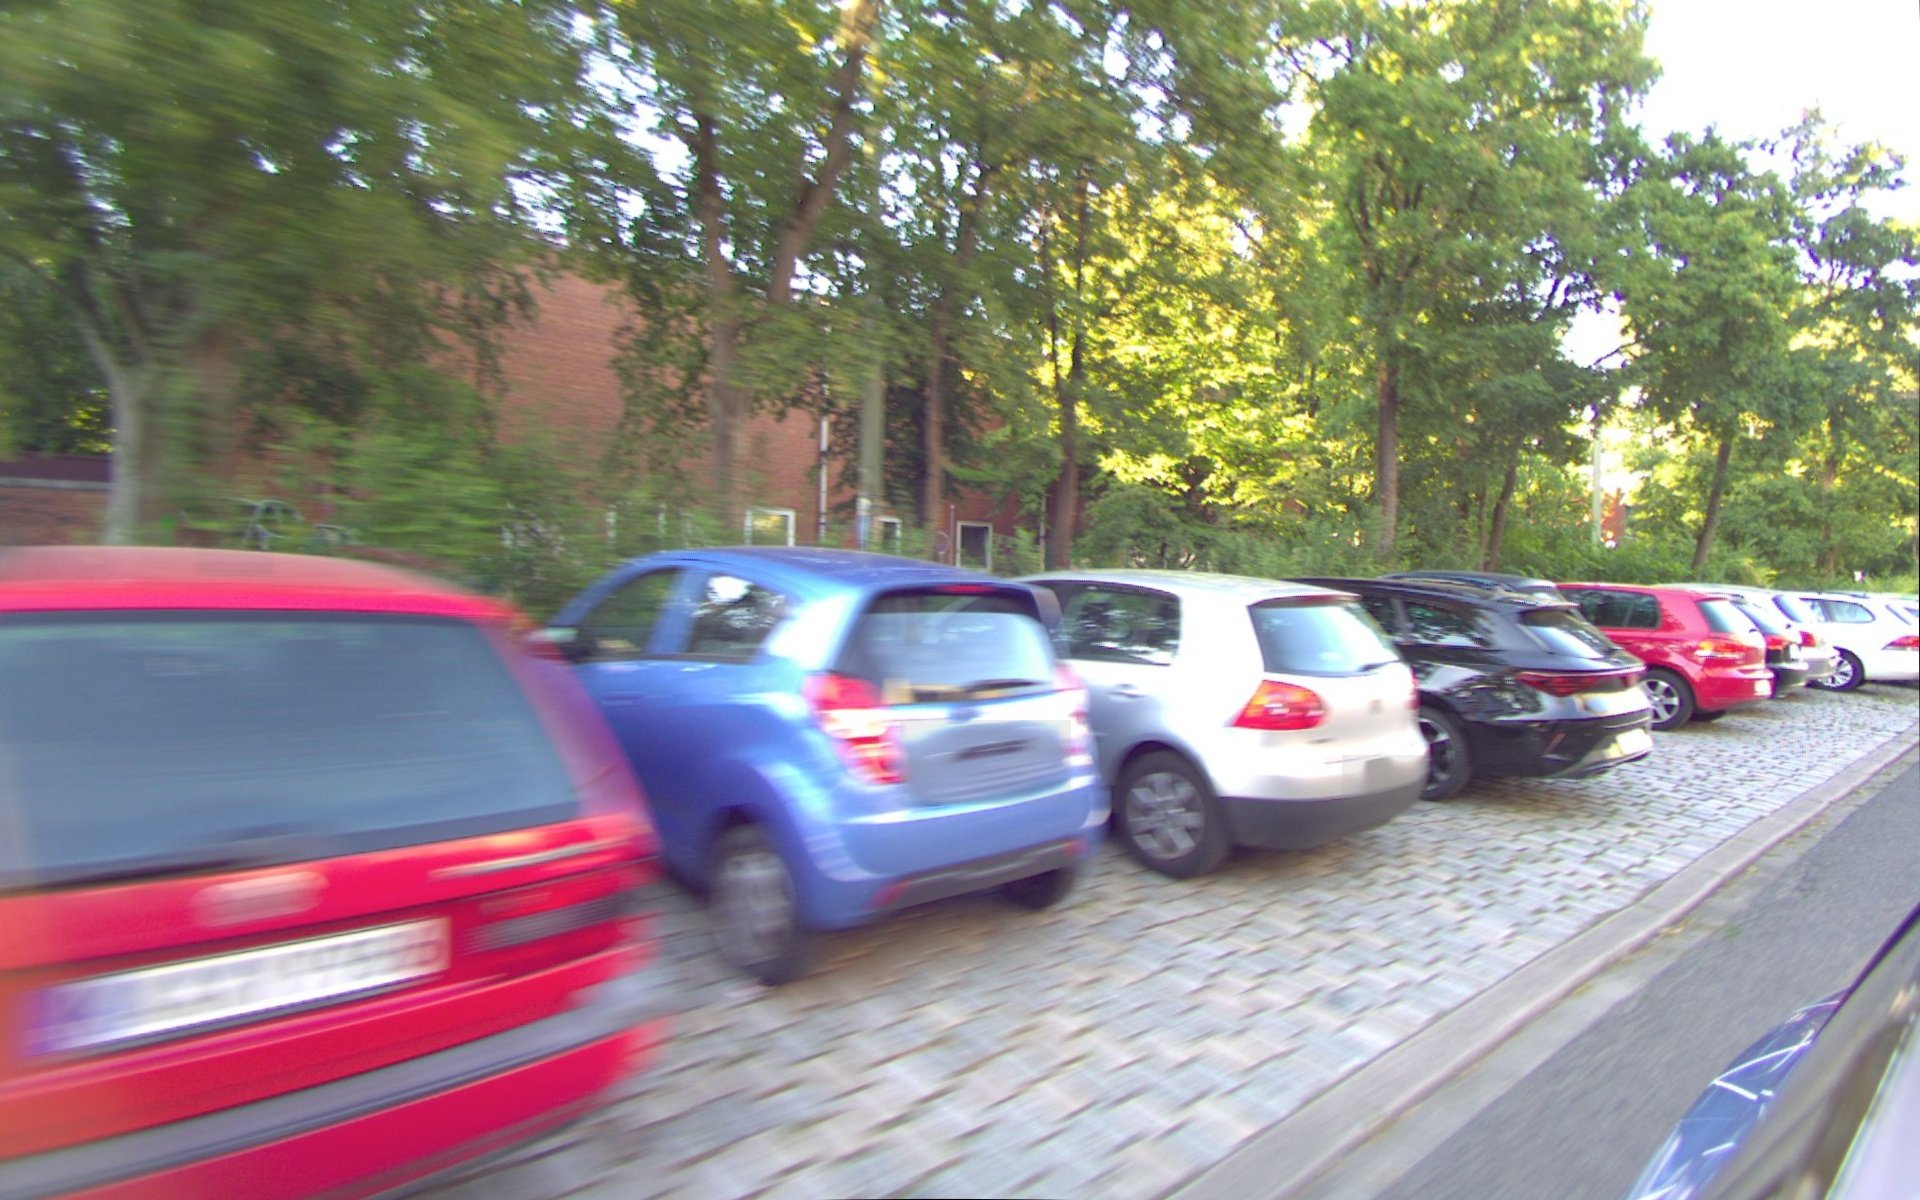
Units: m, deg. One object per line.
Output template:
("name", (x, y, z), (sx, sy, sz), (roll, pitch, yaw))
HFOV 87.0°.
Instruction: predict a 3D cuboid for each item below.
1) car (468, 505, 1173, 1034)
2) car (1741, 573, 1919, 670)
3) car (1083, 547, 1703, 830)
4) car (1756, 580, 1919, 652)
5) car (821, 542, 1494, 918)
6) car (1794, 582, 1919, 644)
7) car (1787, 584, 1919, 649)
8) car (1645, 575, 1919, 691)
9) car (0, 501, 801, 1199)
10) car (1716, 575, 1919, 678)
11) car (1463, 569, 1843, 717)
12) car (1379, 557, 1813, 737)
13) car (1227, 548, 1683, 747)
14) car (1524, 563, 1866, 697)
("car", (-1.003, 0.379, 5.035), (1.711, 1.574, 3.721), (-1, 5, -41))
("car", (17.288, 0.404, 19.189), (1.643, 1.543, 3.618), (0, 5, -42))
("car", (3.154, 0.427, 8.078), (1.800, 1.492, 4.129), (-1, 5, -41))
("car", (21.369, 0.340, 24.189), (1.642, 1.544, 3.393), (0, 2, -40))
("car", (0.918, 0.465, 6.440), (1.799, 1.471, 3.936), (-1, 5, -39))
("car", (25.214, 0.350, 27.288), (1.709, 1.530, 3.958), (-1, 3, -41))
("car", (23.426, 0.380, 25.625), (1.642, 1.559, 3.634), (-1, 1, -40))
("car", (13.347, 0.440, 16.148), (1.705, 1.572, 3.672), (0, 2, -42))
("car", (-2.386, 0.493, 3.257), (1.710, 1.493, 4.351), (1, 4, -39))
("car", (15.654, 0.445, 17.595), (1.705, 1.462, 3.674), (0, 5, -42))
("car", (8.984, 0.430, 13.379), (1.725, 1.411, 3.760), (-1, 6, -39))
("car", (7.140, 0.387, 11.678), (1.725, 1.492, 3.819), (0, 5, -40))
("car", (4.970, 0.316, 10.608), (1.799, 1.492, 3.820), (-1, 6, -39))
("car", (10.859, 0.317, 15.163), (1.788, 1.516, 3.736), (-1, 6, -39))
